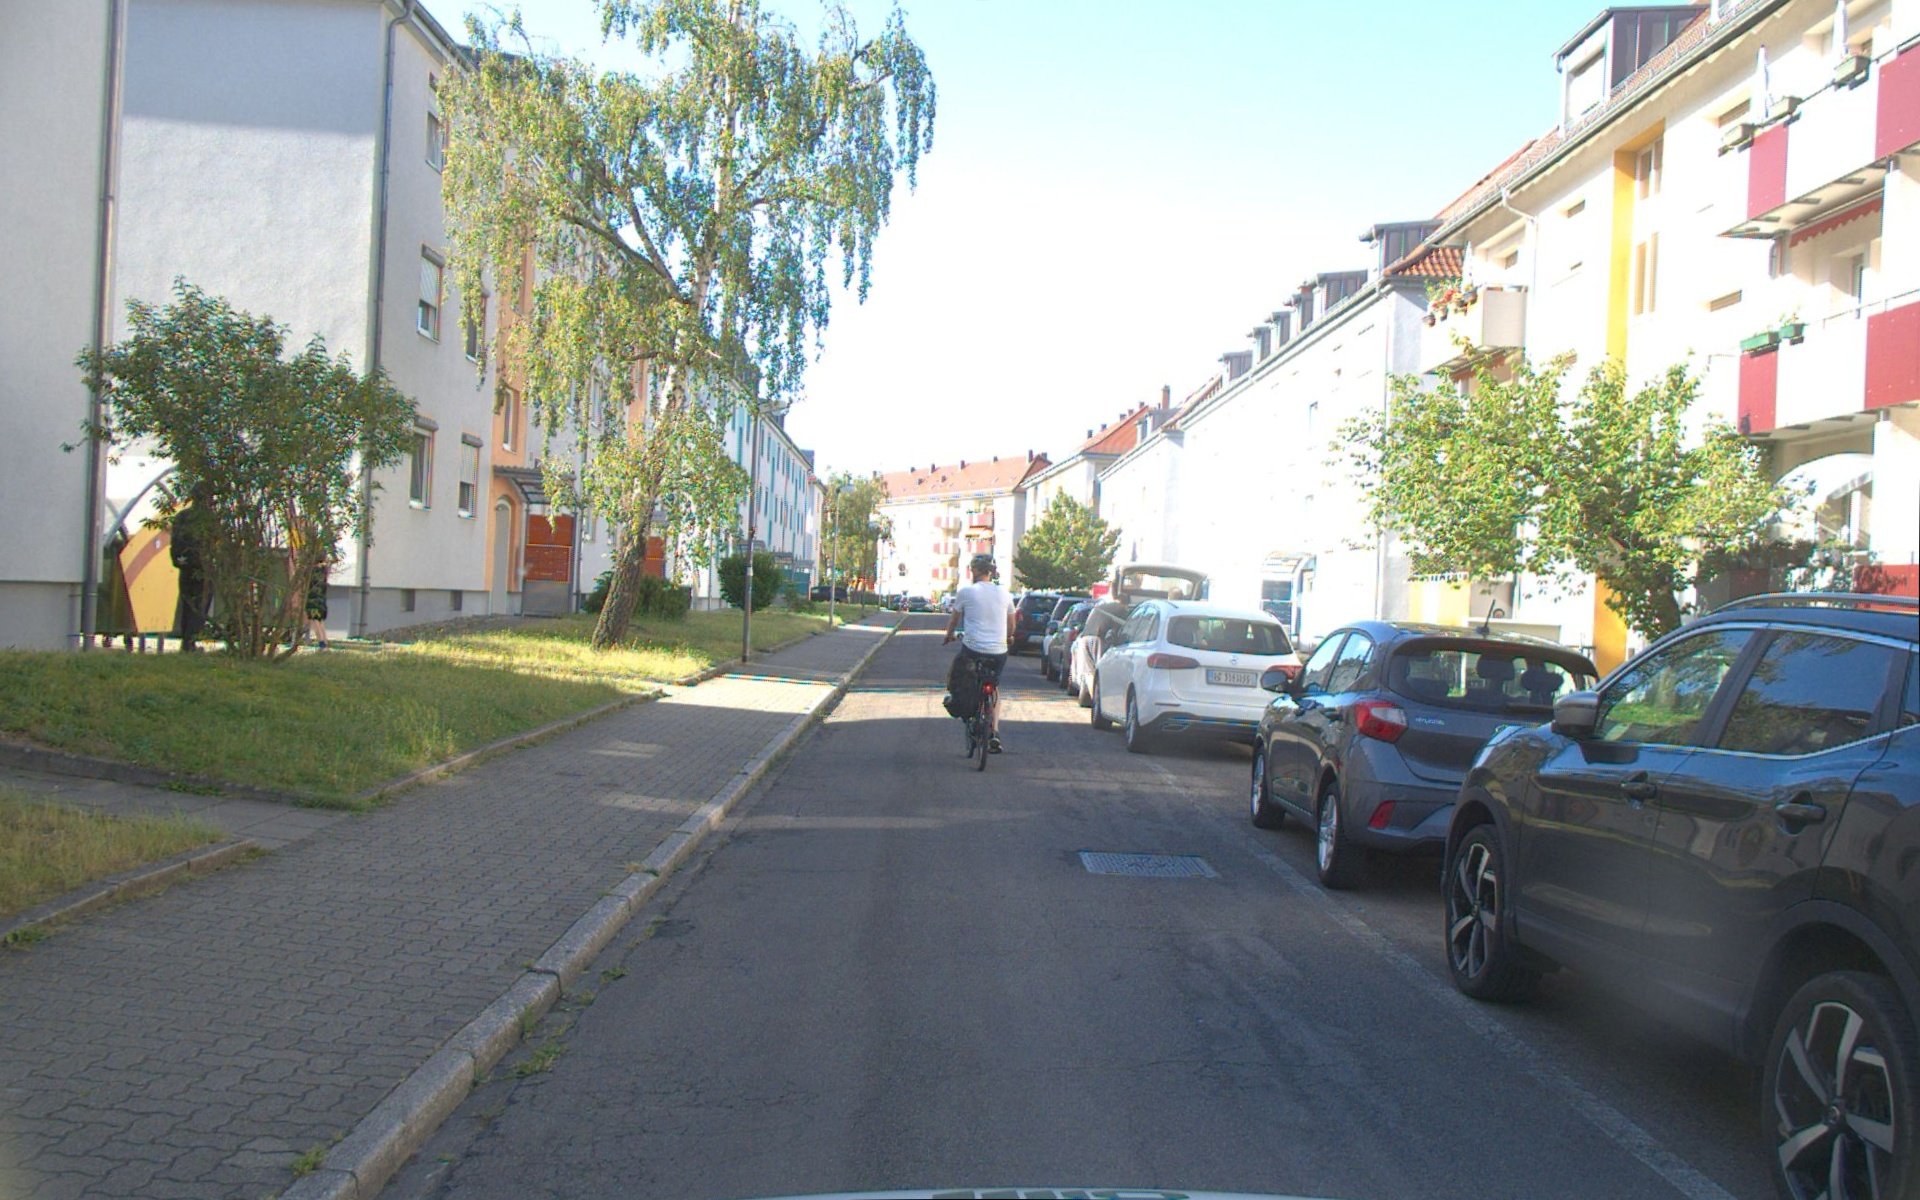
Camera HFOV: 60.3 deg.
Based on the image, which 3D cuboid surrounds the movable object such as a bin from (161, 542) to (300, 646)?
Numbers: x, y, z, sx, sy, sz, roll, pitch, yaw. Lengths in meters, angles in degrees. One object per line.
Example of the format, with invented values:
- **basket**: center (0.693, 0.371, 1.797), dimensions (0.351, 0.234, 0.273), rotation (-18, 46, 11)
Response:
- **movable object such as a bin**: center (-10.410, -0.084, 23.658), dimensions (1.360, 1.359, 1.228), rotation (4, 0, -2)

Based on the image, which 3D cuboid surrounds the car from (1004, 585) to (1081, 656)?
- **car**: center (2.146, 0.509, 44.090), dimensions (1.747, 1.676, 4.468), rotation (4, 0, 0)

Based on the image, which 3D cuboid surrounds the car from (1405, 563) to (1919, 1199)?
- **car**: center (2.899, 0.733, 5.187), dimensions (1.688, 1.606, 4.351), rotation (1, 0, -2)

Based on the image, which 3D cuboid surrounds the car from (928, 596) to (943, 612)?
- **car**: center (-2.524, 0.414, 169.901), dimensions (1.440, 1.542, 3.075), rotation (1, 0, -3)

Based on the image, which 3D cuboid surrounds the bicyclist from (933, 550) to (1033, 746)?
- **bicyclist**: center (0.195, 0.412, 14.705), dimensions (0.792, 1.672, 0.898), rotation (1, 0, -3)

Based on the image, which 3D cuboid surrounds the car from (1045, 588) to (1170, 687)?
- **car**: center (2.552, 0.616, 29.446), dimensions (1.660, 1.517, 3.983), rotation (4, 0, -2)

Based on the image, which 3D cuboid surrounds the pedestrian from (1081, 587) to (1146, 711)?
- **pedestrian**: center (2.050, 0.640, 22.185), dimensions (0.724, 1.602, 0.879), rotation (1, 0, -2)

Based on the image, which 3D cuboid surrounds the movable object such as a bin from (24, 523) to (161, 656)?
- **movable object such as a bin**: center (-9.857, -0.117, 18.822), dimensions (1.062, 1.430, 0.812), rotation (3, 0, -1)

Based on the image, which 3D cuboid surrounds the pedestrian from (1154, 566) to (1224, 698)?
- **pedestrian**: center (3.015, 0.413, 21.855), dimensions (0.803, 1.717, 0.604), rotation (1, 0, -2)

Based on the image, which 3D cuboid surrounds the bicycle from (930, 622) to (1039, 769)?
- **bicycle**: center (0.187, 0.800, 14.640), dimensions (0.792, 1.148, 2.100), rotation (1, 0, -3)

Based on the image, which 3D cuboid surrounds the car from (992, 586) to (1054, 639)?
- **car**: center (2.054, 0.381, 54.792), dimensions (1.656, 1.602, 4.433), rotation (4, 0, -2)

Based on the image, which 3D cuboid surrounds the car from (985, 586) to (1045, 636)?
- **car**: center (1.978, 0.376, 60.843), dimensions (1.716, 1.645, 4.449), rotation (5, 0, -3)

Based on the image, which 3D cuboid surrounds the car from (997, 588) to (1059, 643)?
- **car**: center (1.987, 0.423, 49.184), dimensions (1.608, 1.524, 4.156), rotation (2, 0, 0)

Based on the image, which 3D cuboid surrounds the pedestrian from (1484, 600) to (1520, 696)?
- **pedestrian**: center (8.687, 0.771, 26.518), dimensions (0.441, 1.521, 0.360), rotation (2, -2, -1)

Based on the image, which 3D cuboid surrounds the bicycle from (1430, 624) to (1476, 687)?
- **bicycle**: center (8.605, 0.968, 28.868), dimensions (0.725, 1.065, 0.239), rotation (1, 0, 1)

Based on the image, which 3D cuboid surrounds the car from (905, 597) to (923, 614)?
- **car**: center (-3.921, 0.428, 140.348), dimensions (1.440, 1.358, 3.139), rotation (1, 0, -3)

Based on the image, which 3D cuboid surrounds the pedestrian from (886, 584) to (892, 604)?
- **pedestrian**: center (-5.877, -0.500, 136.626), dimensions (0.425, 1.602, 0.543), rotation (1, 0, -1)

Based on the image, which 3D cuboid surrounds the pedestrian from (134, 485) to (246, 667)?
- **pedestrian**: center (-8.105, -0.252, 17.440), dimensions (0.789, 1.855, 0.718), rotation (2, 0, -1)

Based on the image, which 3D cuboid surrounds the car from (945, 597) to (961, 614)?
- **car**: center (-0.679, 0.508, 157.162), dimensions (1.354, 1.523, 3.075), rotation (1, 0, -3)

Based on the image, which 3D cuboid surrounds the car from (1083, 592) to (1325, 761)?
- **car**: center (2.527, 0.731, 18.201), dimensions (1.737, 1.531, 4.478), rotation (3, 0, -3)

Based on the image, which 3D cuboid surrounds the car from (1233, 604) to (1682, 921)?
- **car**: center (2.858, 0.826, 10.427), dimensions (1.613, 1.474, 4.061), rotation (4, 0, 1)

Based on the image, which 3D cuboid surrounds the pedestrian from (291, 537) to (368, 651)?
- **pedestrian**: center (-7.637, -0.071, 20.039), dimensions (0.672, 1.340, 0.575), rotation (2, 0, -1)

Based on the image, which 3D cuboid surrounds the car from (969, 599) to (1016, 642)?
- **car**: center (1.426, 0.888, 73.534), dimensions (1.824, 1.697, 4.126), rotation (4, 0, -1)

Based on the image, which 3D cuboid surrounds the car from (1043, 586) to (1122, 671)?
- **car**: center (2.479, 0.561, 33.919), dimensions (1.449, 1.555, 2.942), rotation (4, 0, 3)

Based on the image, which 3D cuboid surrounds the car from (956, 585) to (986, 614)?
- **car**: center (0.684, -0.073, 108.047), dimensions (1.641, 1.769, 3.940), rotation (3, 0, -3)

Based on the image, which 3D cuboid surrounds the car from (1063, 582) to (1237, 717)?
- **car**: center (2.653, 0.632, 24.219), dimensions (1.953, 1.641, 4.996), rotation (4, 0, 1)

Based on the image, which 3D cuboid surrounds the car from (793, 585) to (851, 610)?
- **car**: center (-10.174, -0.165, 121.847), dimensions (4.149, 1.667, 1.581), rotation (2, 0, -5)

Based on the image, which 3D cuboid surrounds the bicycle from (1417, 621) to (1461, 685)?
- **bicycle**: center (8.615, 0.942, 29.777), dimensions (0.395, 1.106, 1.299), rotation (1, 0, 0)
